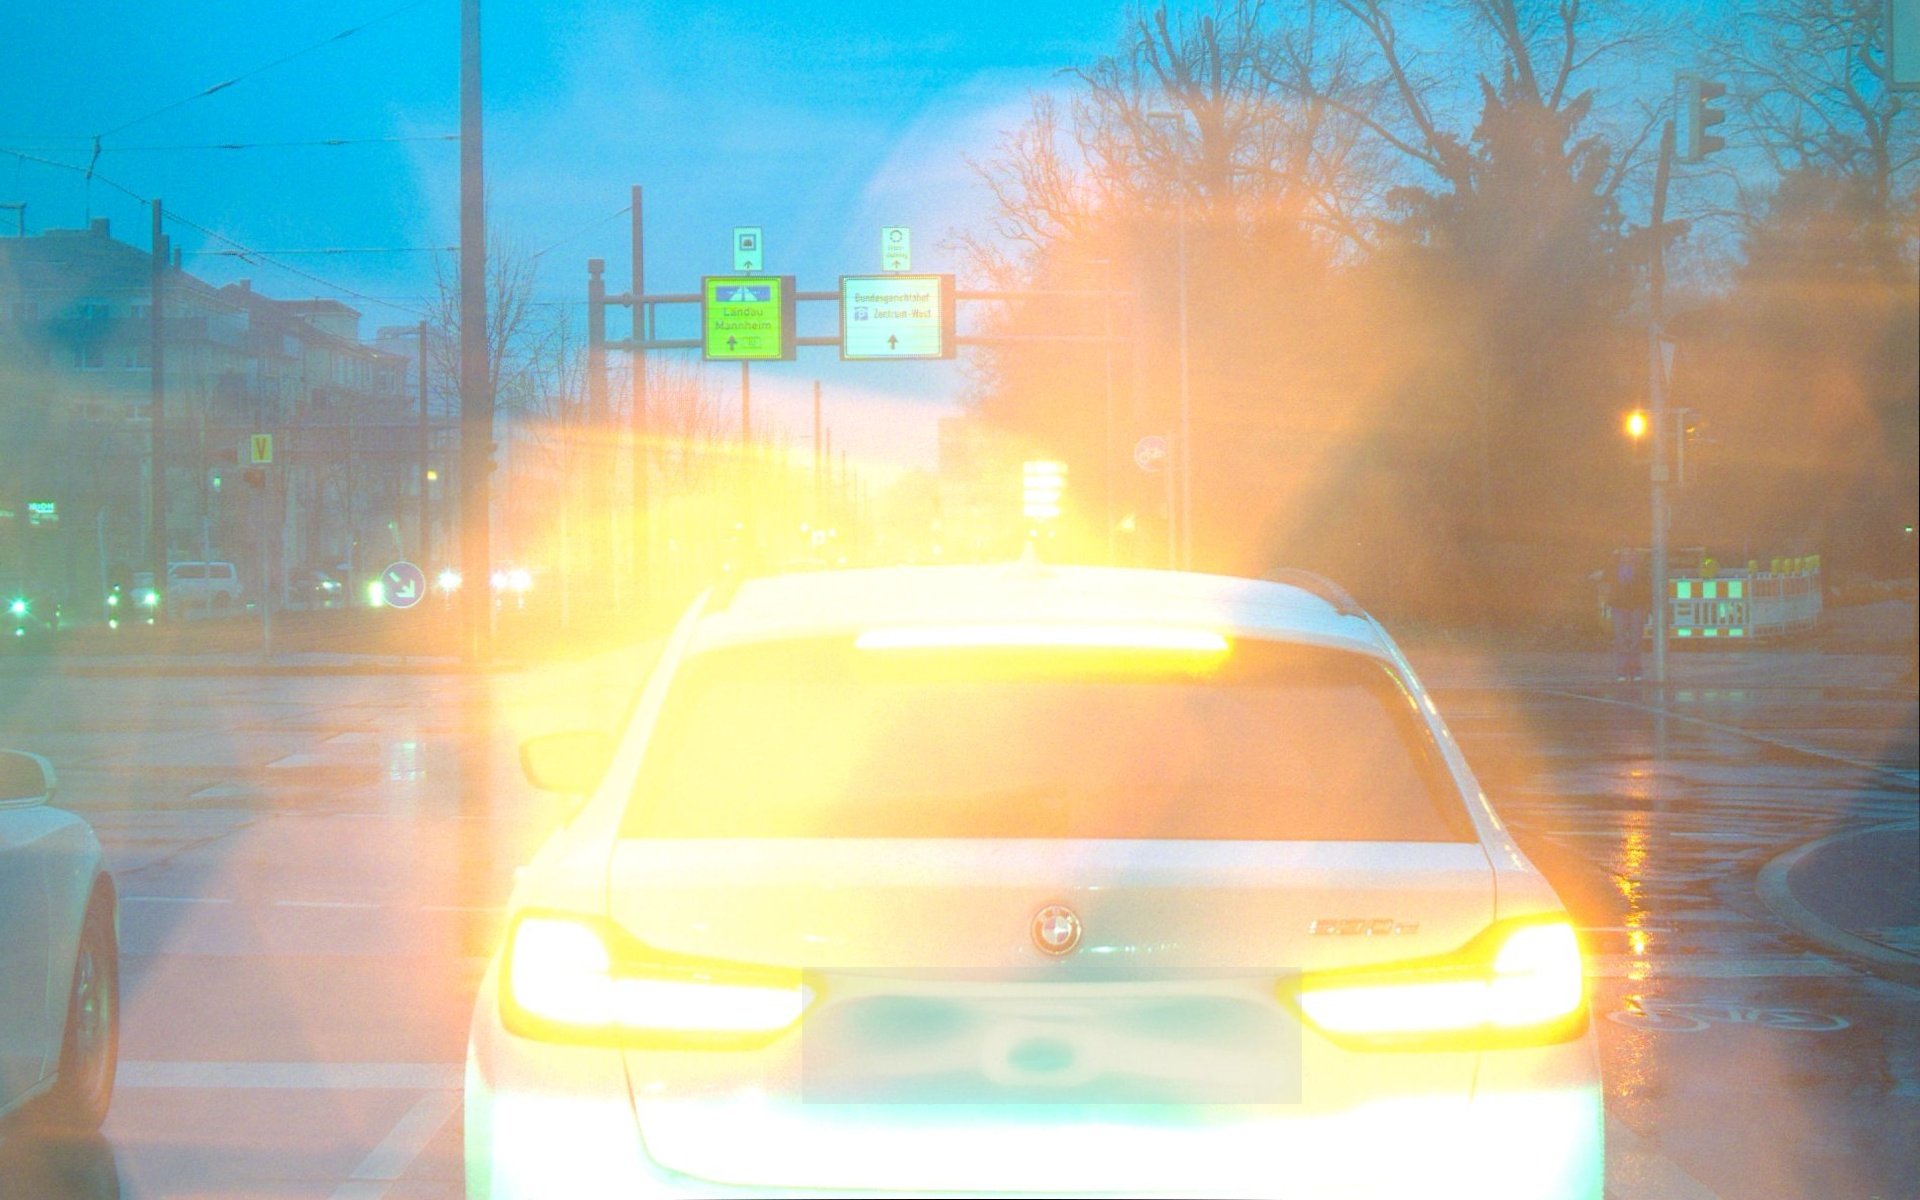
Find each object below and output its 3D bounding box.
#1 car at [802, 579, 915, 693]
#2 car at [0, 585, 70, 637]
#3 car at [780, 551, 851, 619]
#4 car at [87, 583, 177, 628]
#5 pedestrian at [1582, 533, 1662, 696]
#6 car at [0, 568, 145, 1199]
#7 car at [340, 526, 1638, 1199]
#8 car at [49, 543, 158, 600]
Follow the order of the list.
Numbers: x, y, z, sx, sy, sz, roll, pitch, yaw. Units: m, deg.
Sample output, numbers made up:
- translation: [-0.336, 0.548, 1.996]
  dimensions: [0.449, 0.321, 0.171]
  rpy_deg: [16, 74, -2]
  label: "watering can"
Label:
- translation: [-1.848, 0.635, 63.725]
  dimensions: [1.993, 2.007, 4.000]
  rpy_deg: [1, 1, -1]
  label: "car"
- translation: [-28.013, 0.308, 102.143]
  dimensions: [1.993, 1.457, 5.095]
  rpy_deg: [1, 1, -2]
  label: "car"
- translation: [-4.340, -0.464, 103.845]
  dimensions: [1.993, 2.007, 4.000]
  rpy_deg: [1, 1, -1]
  label: "car"
- translation: [-28.132, 0.160, 116.959]
  dimensions: [1.993, 1.457, 5.095]
  rpy_deg: [1, 1, -2]
  label: "car"
- translation: [7.670, 0.163, 39.871]
  dimensions: [0.673, 1.873, 0.715]
  rpy_deg: [1, 0, -10]
  label: "pedestrian"
- translation: [-2.954, 0.663, 6.983]
  dimensions: [1.759, 1.464, 4.252]
  rpy_deg: [1, 1, -3]
  label: "car"
- translation: [-0.058, 0.663, 6.811]
  dimensions: [1.759, 1.547, 4.252]
  rpy_deg: [1, 1, -3]
  label: "car"
- translation: [-22.904, -0.765, 92.081]
  dimensions: [1.993, 1.457, 5.096]
  rpy_deg: [1, 1, -4]
  label: "car"
